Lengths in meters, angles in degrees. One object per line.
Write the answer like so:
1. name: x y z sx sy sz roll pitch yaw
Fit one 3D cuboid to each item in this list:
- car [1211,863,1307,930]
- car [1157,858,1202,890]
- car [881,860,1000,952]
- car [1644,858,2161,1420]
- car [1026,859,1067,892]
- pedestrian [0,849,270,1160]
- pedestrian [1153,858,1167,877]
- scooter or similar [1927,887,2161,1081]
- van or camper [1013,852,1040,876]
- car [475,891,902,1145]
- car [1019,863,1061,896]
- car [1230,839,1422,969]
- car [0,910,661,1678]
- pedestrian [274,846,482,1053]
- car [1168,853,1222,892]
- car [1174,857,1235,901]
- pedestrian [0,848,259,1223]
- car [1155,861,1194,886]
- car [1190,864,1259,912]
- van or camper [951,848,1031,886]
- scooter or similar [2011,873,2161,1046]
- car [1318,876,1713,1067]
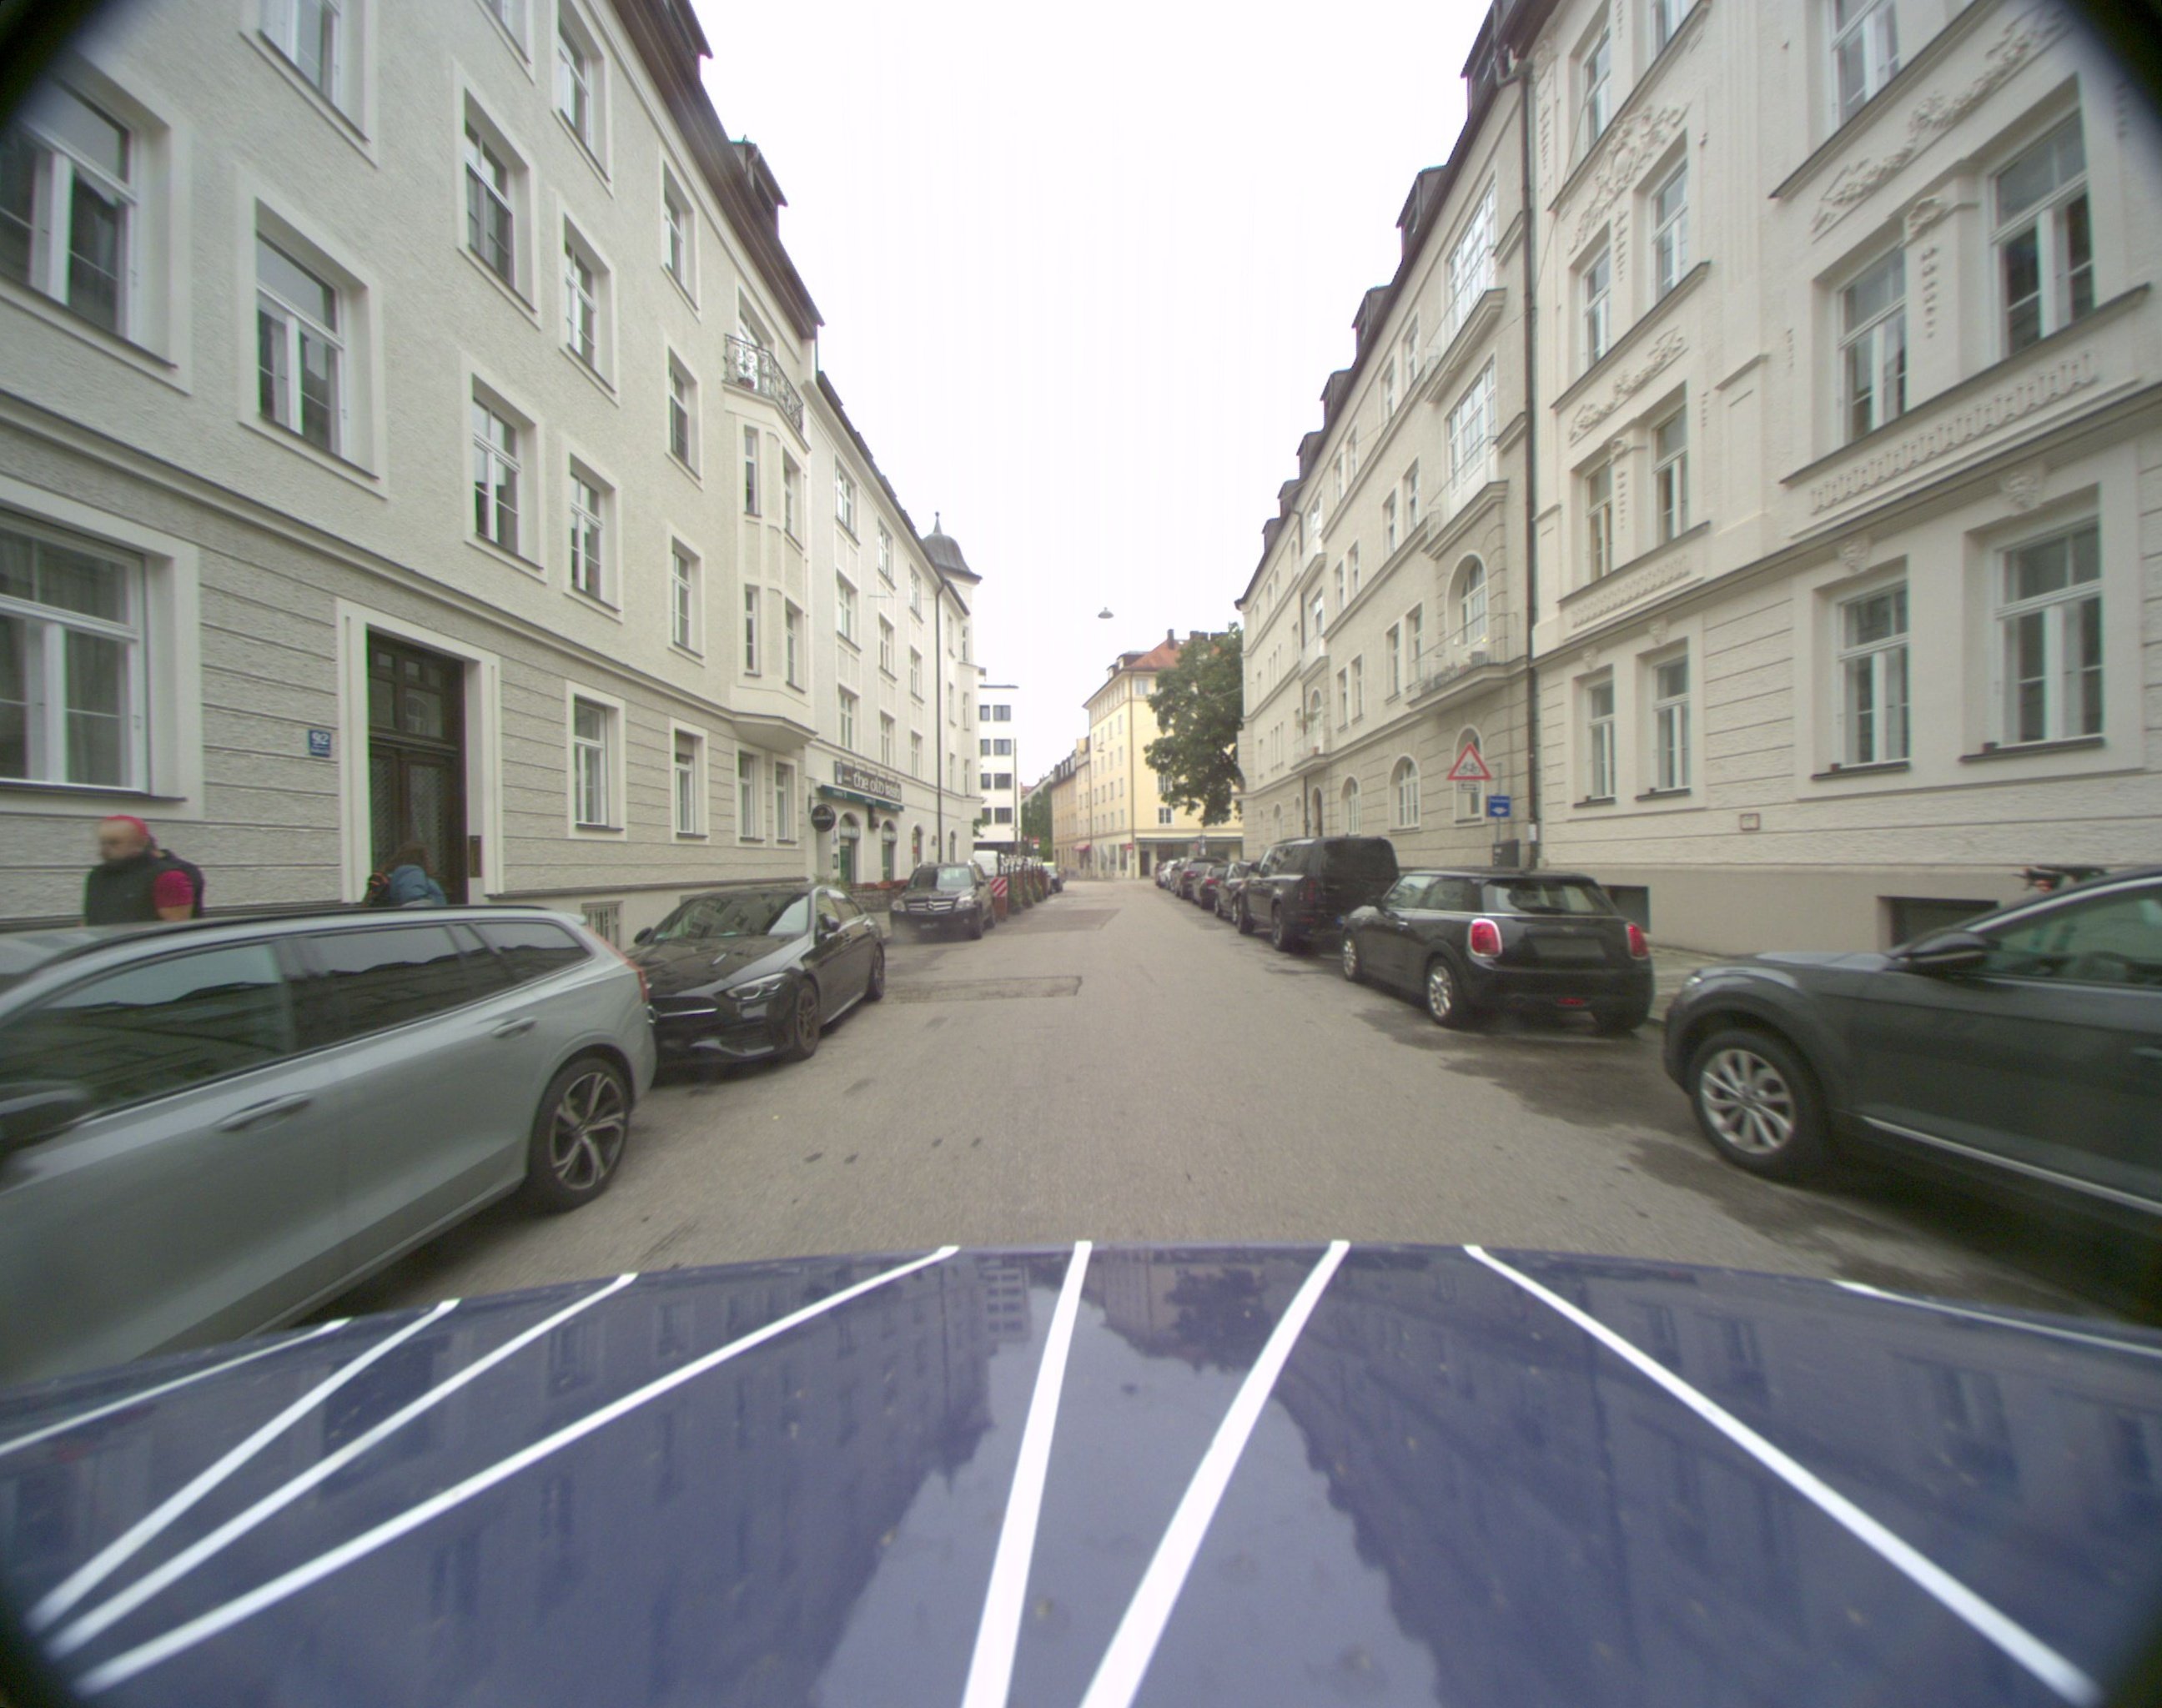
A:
1. car: 4.395 1.000 19.236 1.620 1.504 3.531 0 0 0
2. car: 5.204 1.038 40.599 1.699 1.559 3.950 -1 0 -3
3. car: -2.959 1.032 16.896 1.805 1.665 4.189 -3 0 -1
4. car: 3.984 0.833 2.078 1.731 1.609 4.120 1 0 -2
5. car: -1.813 1.136 41.228 1.841 1.609 4.095 -4 -1 2
6. pedestrian: -6.366 0.864 4.989 0.884 1.776 1.112 1 0 14
7. pedestrian: 6.942 1.162 66.642 0.920 1.601 0.777 -1 0 31
8. scooter or similar: 7.263 0.869 5.510 0.533 1.193 1.548 -1 0 1
9. van or camper: -6.158 1.112 84.790 1.968 2.494 5.717 -1 0 -14
10. car: -3.159 1.196 7.501 1.841 1.391 4.972 -3 -1 -4
11. car: -1.932 1.197 37.013 1.670 1.392 3.493 -4 -1 2
12. car: 4.072 0.758 13.562 1.841 1.883 4.763 1 0 0
13. car: -3.221 1.073 1.905 1.765 1.477 4.421 -4 -1 0
14. pedestrian: -6.712 0.858 7.331 0.885 1.803 1.111 3 0 1
15. car: 5.231 0.820 35.330 1.841 1.667 4.213 -1 0 0
16. car: 4.836 0.931 30.297 1.880 1.590 4.435 -1 0 3
17. pedestrian: -5.499 0.872 4.126 0.884 1.801 1.112 1 0 17
18. car: 5.528 1.116 45.395 1.685 1.385 4.479 0 0 -1
19. car: 4.581 1.044 24.699 1.658 1.398 4.093 0 0 3
20. van or camper: -6.768 0.990 57.289 5.870 2.696 2.304 -1 -3 -7
21. scooter or similar: 8.001 0.765 5.562 0.495 1.214 1.548 -1 0 1
22. car: 4.087 0.990 8.120 1.841 1.386 4.245 1 0 1
